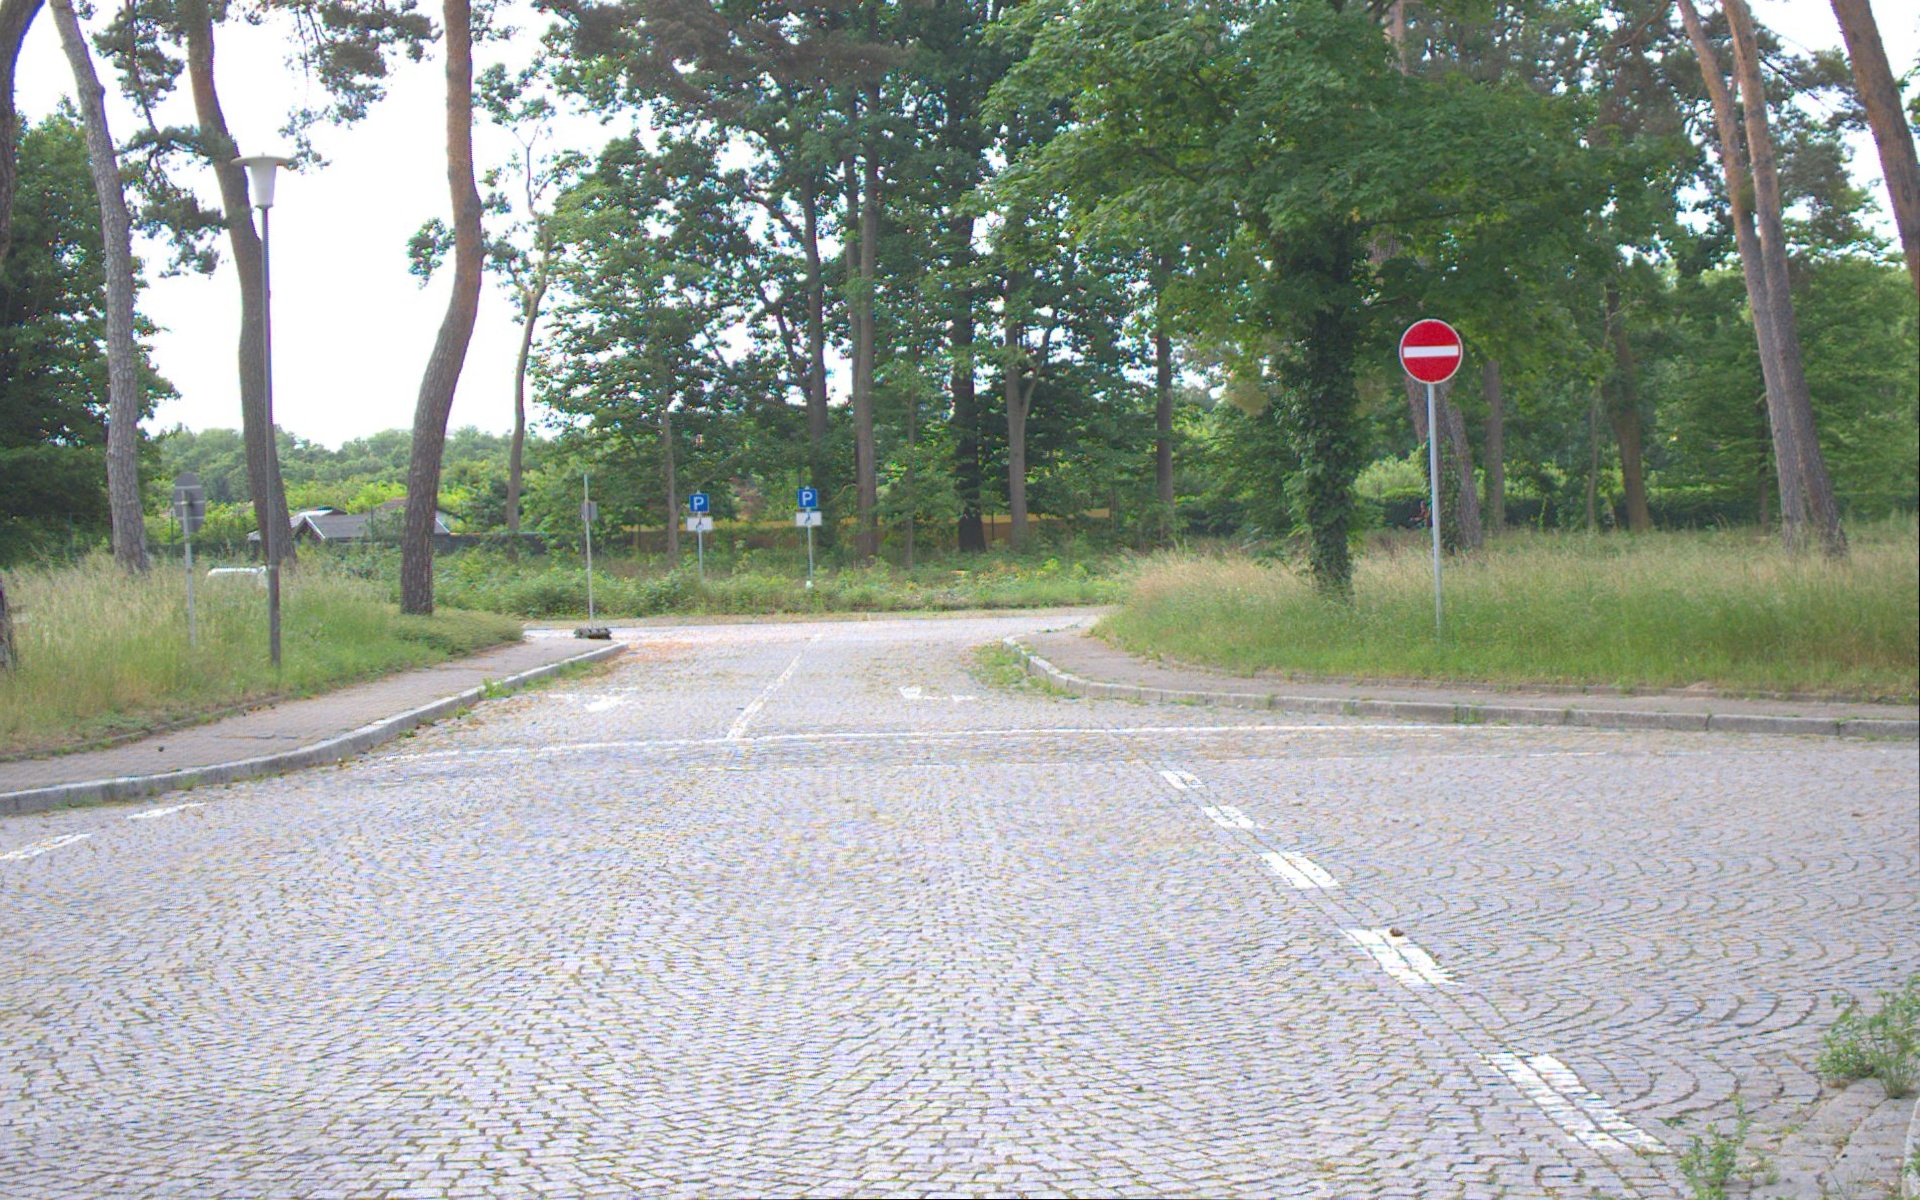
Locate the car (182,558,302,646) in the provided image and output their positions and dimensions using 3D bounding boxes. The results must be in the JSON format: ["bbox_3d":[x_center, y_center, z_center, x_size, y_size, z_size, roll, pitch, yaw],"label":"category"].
[{"bbox_3d":[-15.485,0.021,74.289,1.993,1.840,4.001,0,1,-4],"label":"car"}]
